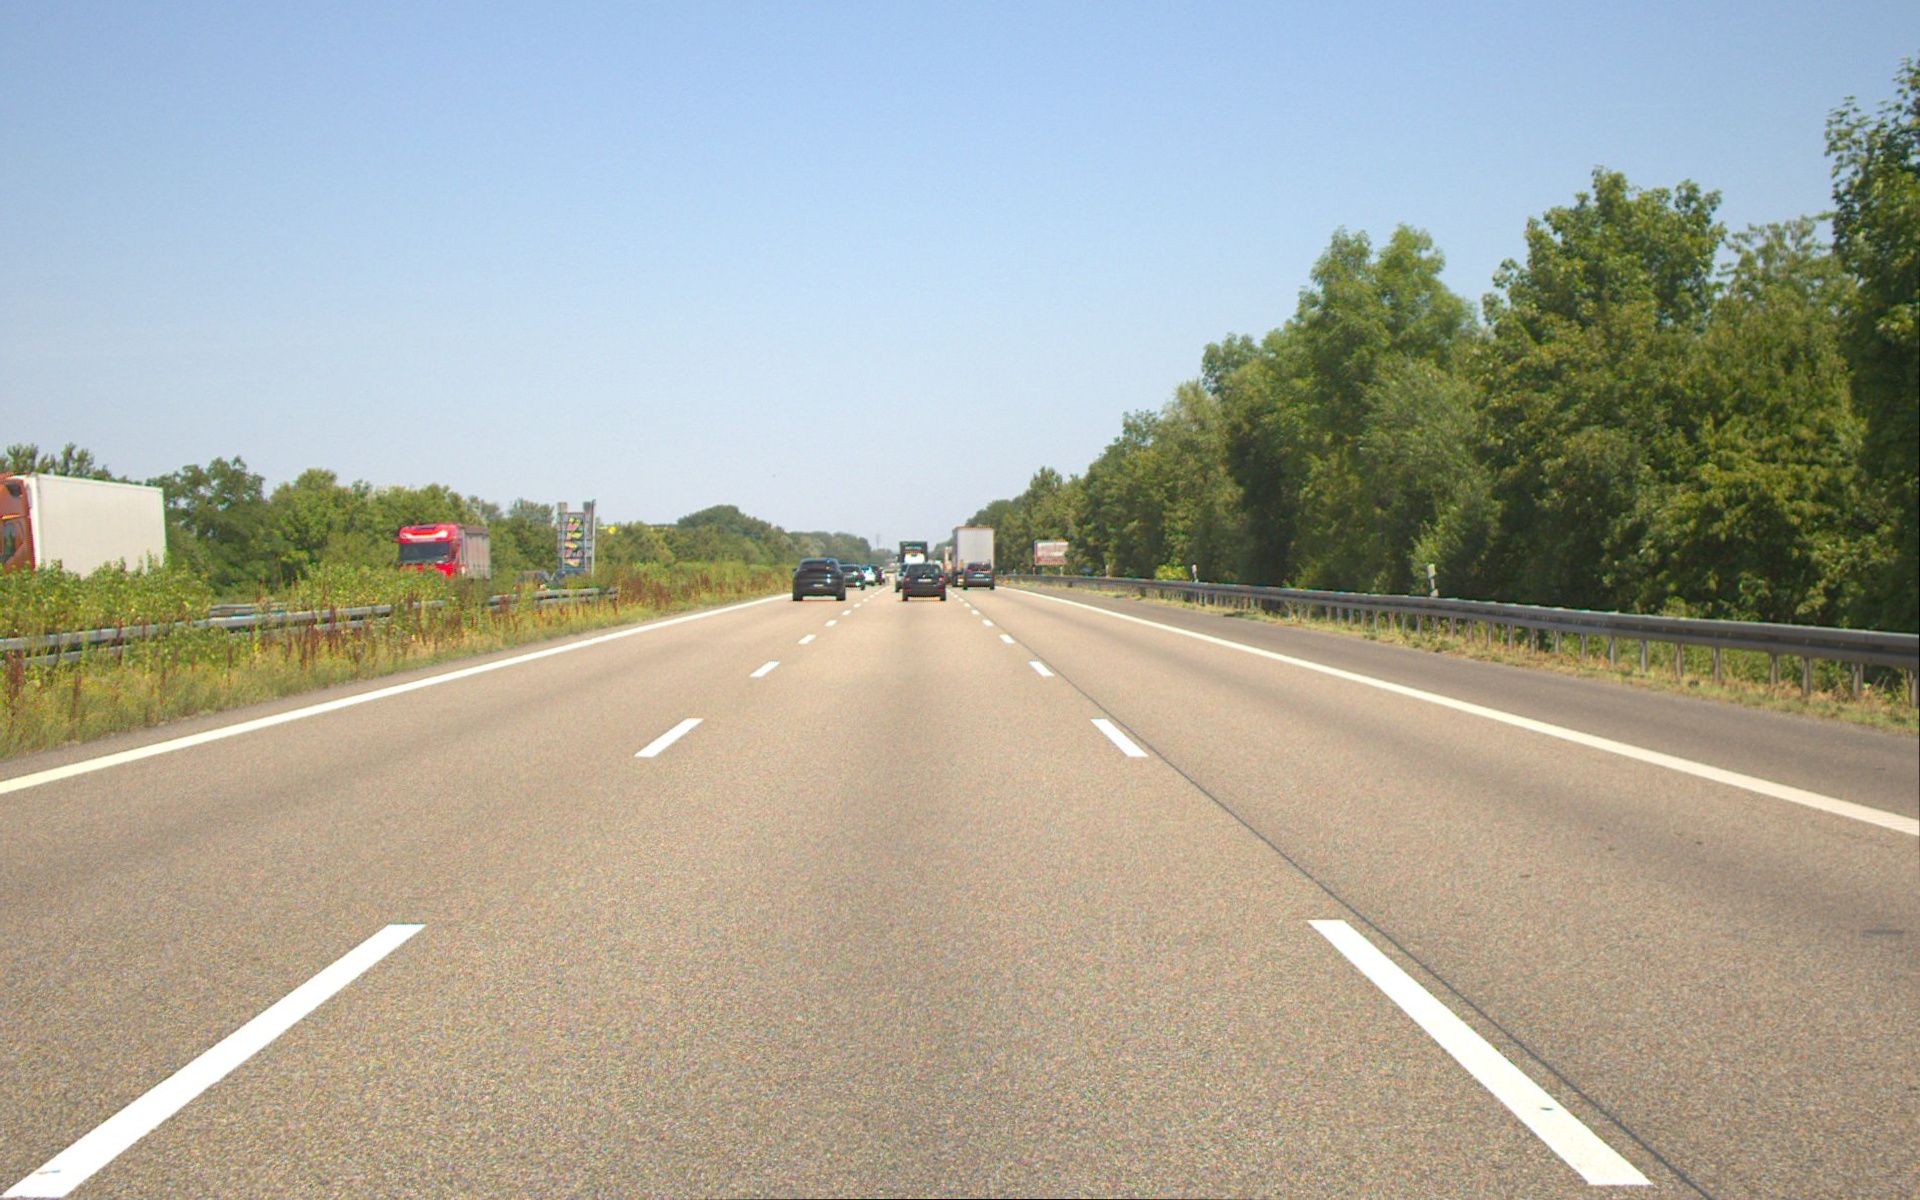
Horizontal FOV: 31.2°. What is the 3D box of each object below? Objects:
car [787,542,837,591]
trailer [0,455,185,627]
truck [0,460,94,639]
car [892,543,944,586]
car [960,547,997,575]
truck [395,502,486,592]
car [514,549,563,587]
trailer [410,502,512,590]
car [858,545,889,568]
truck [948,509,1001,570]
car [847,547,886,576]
[{"bbox_3d":[-5.707,-1.304,133.100,1.880,1.786,4.001,-1,2,-2],"label":"car"},{"bbox_3d":[-22.429,-1.445,86.607,2.732,3.922,13.065,-3,1,0],"label":"trailer"},{"bbox_3d":[-22.389,-1.102,79.384,2.732,3.922,7.416,-3,1,0],"label":"truck"},{"bbox_3d":[-1.575,-1.357,131.040,1.903,1.578,4.304,-1,1,0],"label":"car"},{"bbox_3d":[1.063,-2.270,200.813,2.128,1.578,4.304,-1,1,0],"label":"car"},{"bbox_3d":[-23.047,-2.363,152.772,3.078,3.856,5.591,-1,1,0],"label":"truck"},{"bbox_3d":[-19.180,-1.463,156.438,1.653,1.639,4.333,-1,1,0],"label":"car"},{"bbox_3d":[-23.034,-2.498,159.373,3.078,3.856,10.907,-1,1,0],"label":"trailer"},{"bbox_3d":[-6.438,-3.254,255.890,2.128,1.640,4.304,-1,1,0],"label":"car"},{"bbox_3d":[0.945,-4.089,232.276,3.385,3.957,9.537,-1,1,0],"label":"truck"},{"bbox_3d":[-5.408,-2.254,200.195,2.128,1.640,4.304,-1,1,0],"label":"car"}]
